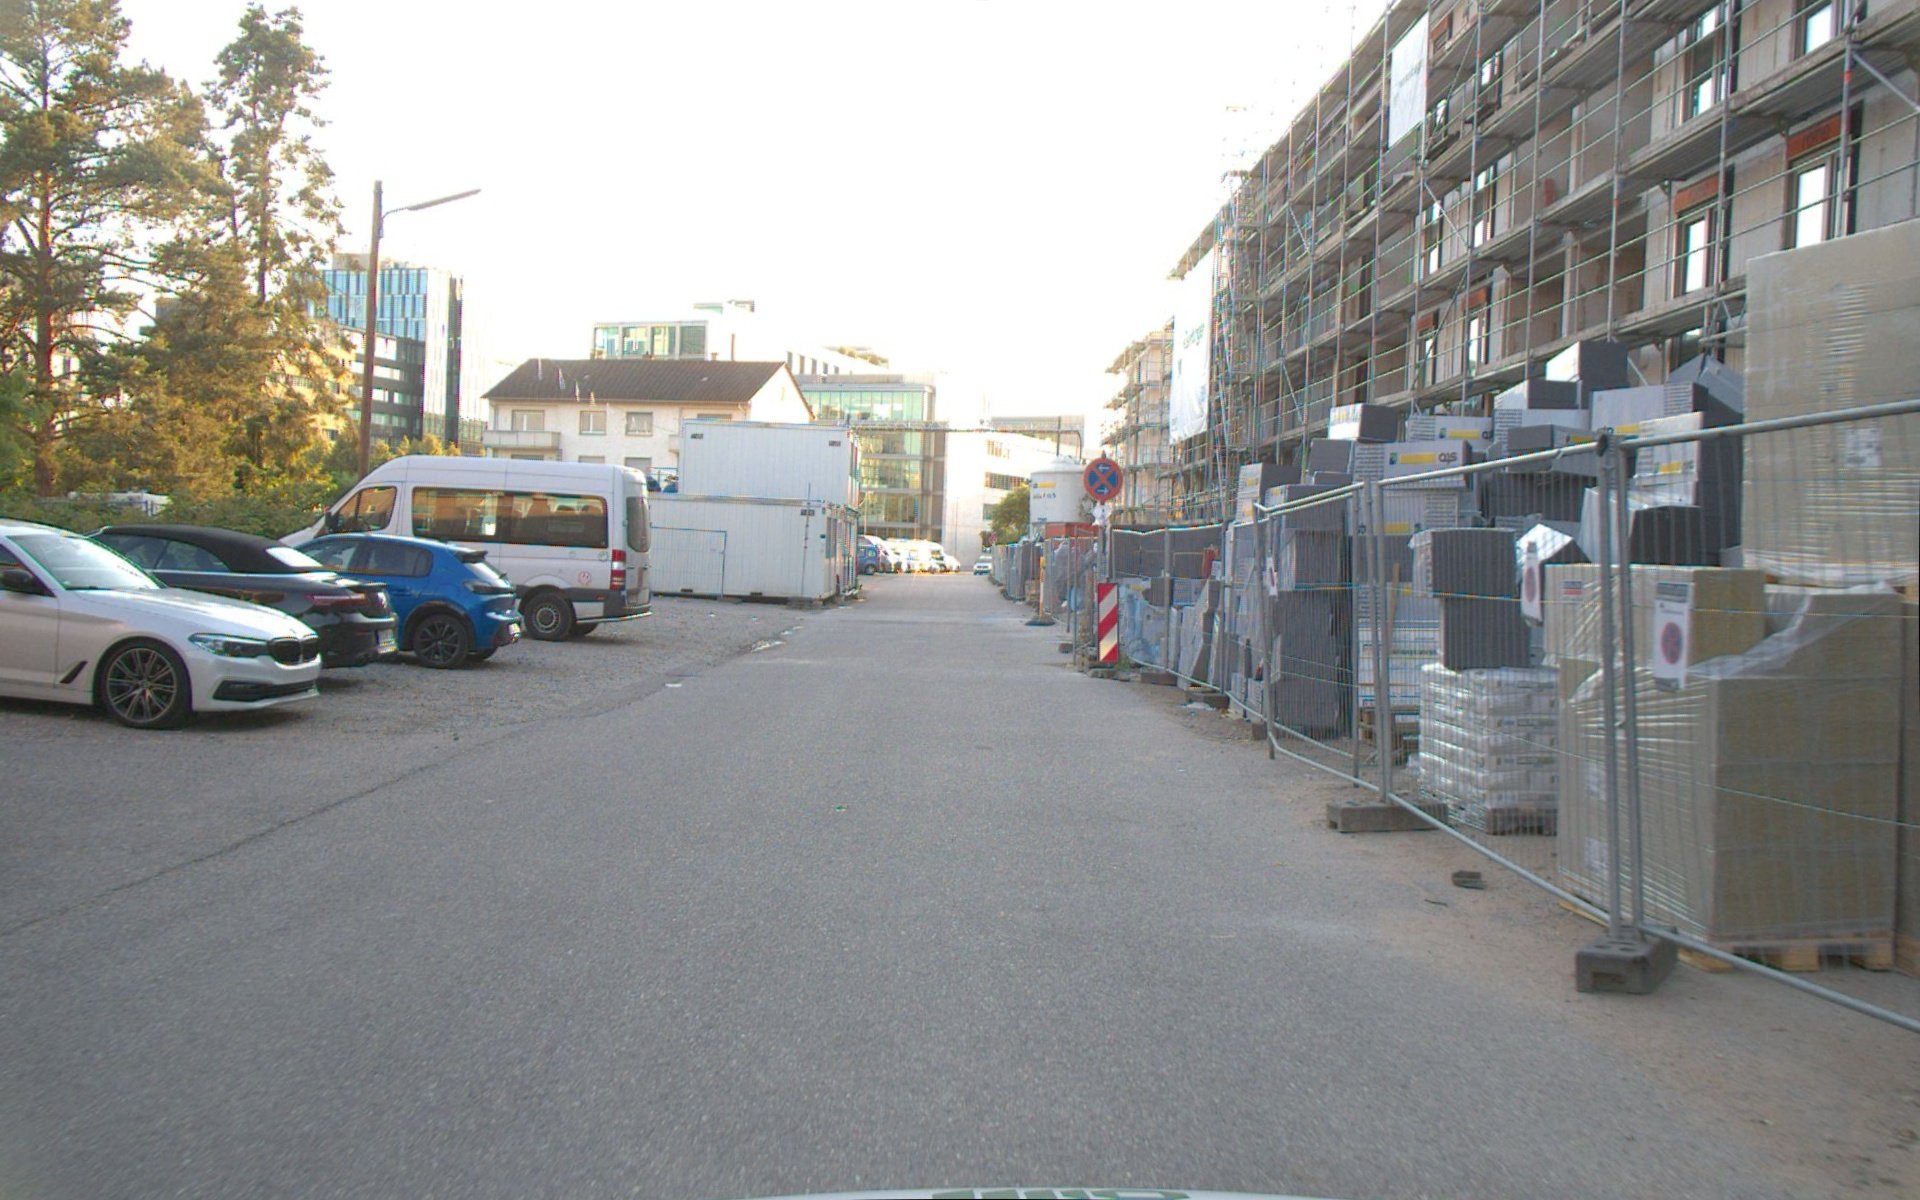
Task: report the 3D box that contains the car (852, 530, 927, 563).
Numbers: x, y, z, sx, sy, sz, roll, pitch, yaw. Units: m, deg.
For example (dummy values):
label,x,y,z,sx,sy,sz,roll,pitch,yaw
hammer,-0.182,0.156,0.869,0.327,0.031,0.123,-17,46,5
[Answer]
label,x,y,z,sx,sy,sz,roll,pitch,yaw
car,-5.816,-4.395,136.349,5.797,2.533,2.002,2,1,11

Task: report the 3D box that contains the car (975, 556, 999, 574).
label,x,y,z,sx,sy,sz,roll,pitch,yaw
car,2.376,-3.098,146.334,1.629,1.555,3.914,2,1,8

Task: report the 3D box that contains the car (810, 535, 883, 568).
label,x,y,z,sx,sy,sz,roll,pitch,yaw
car,-7.106,-3.031,103.143,4.417,1.901,1.998,1,1,-6

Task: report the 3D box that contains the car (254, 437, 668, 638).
label,x,y,z,sx,sy,sz,roll,pitch,yaw
car,-7.558,-0.948,25.489,5.572,2.671,2.222,3,1,1

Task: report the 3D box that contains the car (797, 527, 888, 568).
label,x,y,z,sx,sy,sz,roll,pitch,yaw
car,-8.278,-3.724,117.056,6.198,2.697,2.000,2,1,0

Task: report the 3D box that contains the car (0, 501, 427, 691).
label,x,y,z,sx,sy,sz,roll,pitch,yaw
car,-7.623,-0.074,15.985,4.329,1.571,1.726,3,1,-4

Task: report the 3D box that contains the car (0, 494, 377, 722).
label,x,y,z,sx,sy,sz,roll,pitch,yaw
car,-7.616,-0.057,13.461,4.891,1.571,2.116,4,1,1

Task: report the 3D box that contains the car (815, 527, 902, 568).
label,x,y,z,sx,sy,sz,roll,pitch,yaw
car,-7.410,-3.843,120.939,6.198,2.788,2.000,2,1,0

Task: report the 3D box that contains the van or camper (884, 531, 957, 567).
label,x,y,z,sx,sy,sz,roll,pitch,yaw
van or camper,-3.570,-4.638,150.075,6.198,3.030,2.295,3,1,12

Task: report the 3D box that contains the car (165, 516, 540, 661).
label,x,y,z,sx,sy,sz,roll,pitch,yaw
car,-7.089,-0.145,19.597,3.760,1.454,1.727,3,1,-3
